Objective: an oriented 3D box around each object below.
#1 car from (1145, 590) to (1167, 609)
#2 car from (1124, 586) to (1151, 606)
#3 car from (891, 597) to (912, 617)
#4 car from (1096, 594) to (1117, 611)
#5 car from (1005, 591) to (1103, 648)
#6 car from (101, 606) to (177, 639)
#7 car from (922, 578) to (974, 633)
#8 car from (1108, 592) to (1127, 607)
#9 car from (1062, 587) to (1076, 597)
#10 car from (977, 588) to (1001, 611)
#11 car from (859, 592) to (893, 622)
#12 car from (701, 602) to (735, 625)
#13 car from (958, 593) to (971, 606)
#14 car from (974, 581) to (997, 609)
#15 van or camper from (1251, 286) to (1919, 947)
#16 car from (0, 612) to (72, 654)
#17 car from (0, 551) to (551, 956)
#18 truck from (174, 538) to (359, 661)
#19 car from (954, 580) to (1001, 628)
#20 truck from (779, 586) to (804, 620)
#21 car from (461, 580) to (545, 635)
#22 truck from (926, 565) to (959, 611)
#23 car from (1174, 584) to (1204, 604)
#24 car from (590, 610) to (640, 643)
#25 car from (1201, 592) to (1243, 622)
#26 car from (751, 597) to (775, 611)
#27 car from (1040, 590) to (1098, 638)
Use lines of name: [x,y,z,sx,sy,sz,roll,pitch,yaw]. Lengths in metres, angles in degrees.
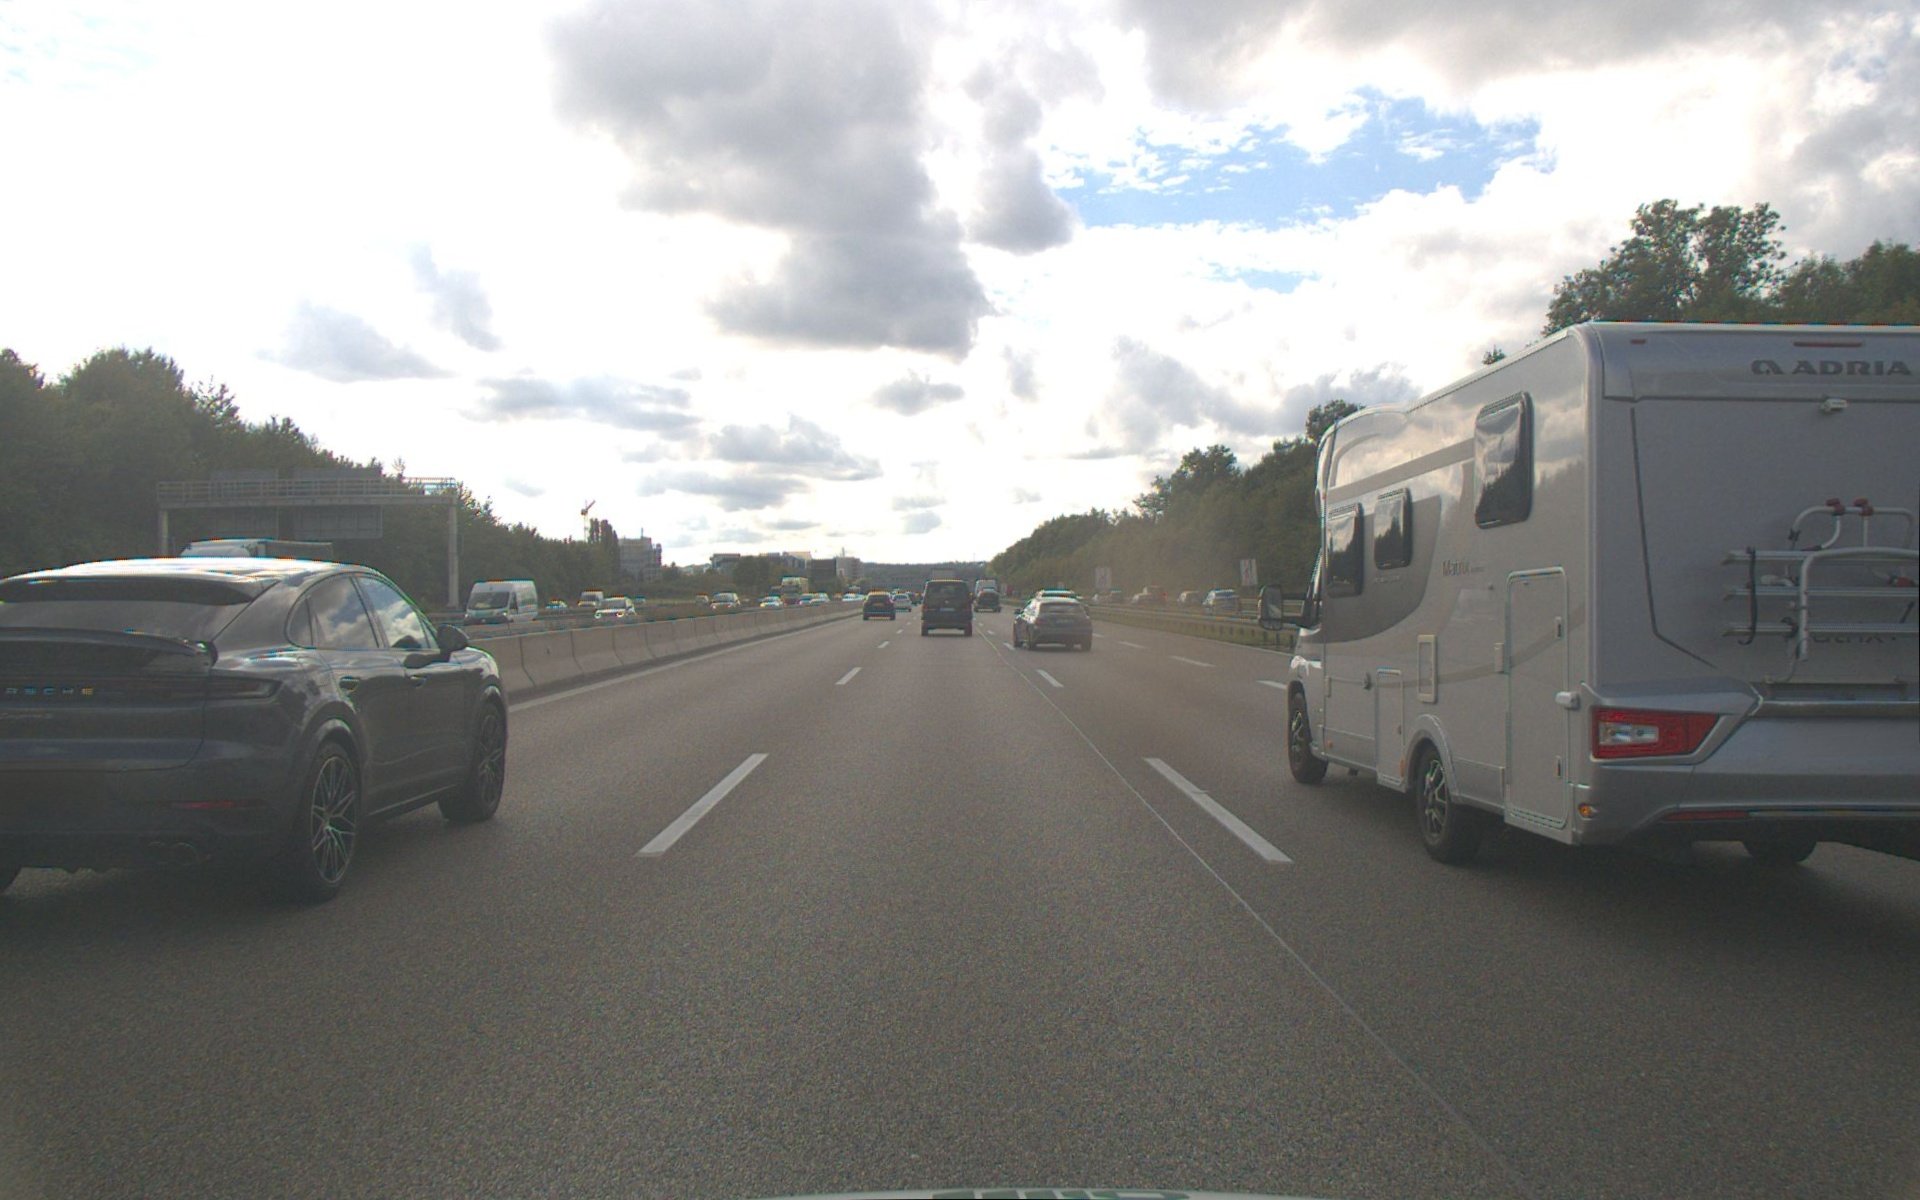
car: [18.914,-0.072,159.868,1.563,1.835,3.823,0,0,-2]
car: [14.628,-0.331,136.475,1.563,1.573,4.188,0,0,-2]
car: [-4.806,0.588,137.008,1.663,1.639,4.112,0,0,-2]
car: [15.046,0.292,170.377,1.716,1.725,4.189,0,0,-1]
car: [2.567,0.496,46.172,1.690,1.505,4.379,0,0,-11]
car: [-37.474,1.006,75.613,1.532,1.389,4.050,-1,0,-1]
car: [-0.467,0.188,60.461,1.817,1.944,4.259,0,0,-1]
car: [18.264,-0.024,191.406,1.716,1.725,4.189,0,0,-1]
car: [17.139,-1.237,259.884,1.717,1.543,4.189,0,0,-2]
car: [2.417,-0.056,137.698,1.874,1.952,4.029,0,0,-1]
car: [-4.860,0.401,96.345,1.835,1.728,4.071,0,0,-1]
car: [-17.063,0.942,116.836,1.738,1.588,4.780,-1,0,-1]
car: [0.568,-0.056,220.518,1.716,1.725,4.189,0,0,-1]
car: [2.214,-0.444,144.871,1.835,2.399,4.281,0,0,-1]
van or camper: [3.852,0.061,10.811,2.418,2.769,7.660,1,0,-1]
car: [-32.986,1.148,58.026,1.532,1.389,4.050,-1,0,-1]
car: [-3.943,0.619,9.562,1.873,1.664,5.499,0,0,-1]
truck: [-20.266,-0.033,48.868,2.306,3.321,7.824,-1,0,-1]
car: [0.645,0.147,63.241,1.686,1.754,4.390,0,0,-1]
truck: [-22.832,0.397,223.800,2.837,4.399,5.161,-1,0,-1]
car: [-20.516,0.310,74.614,2.120,2.311,6.459,-1,0,-1]
truck: [-1.768,-1.196,167.952,3.196,4.451,11.024,1,0,-1]
car: [18.836,-0.520,136.368,1.694,1.573,4.304,-2,0,-2]
car: [-17.095,1.309,82.158,1.702,1.537,4.050,-1,0,-1]
car: [15.854,0.410,100.273,1.809,1.679,4.305,-2,0,-1]
car: [-18.061,0.358,151.966,1.735,1.317,4.674,0,0,-1]
car: [3.765,0.455,57.583,1.663,1.592,4.112,0,0,-2]
